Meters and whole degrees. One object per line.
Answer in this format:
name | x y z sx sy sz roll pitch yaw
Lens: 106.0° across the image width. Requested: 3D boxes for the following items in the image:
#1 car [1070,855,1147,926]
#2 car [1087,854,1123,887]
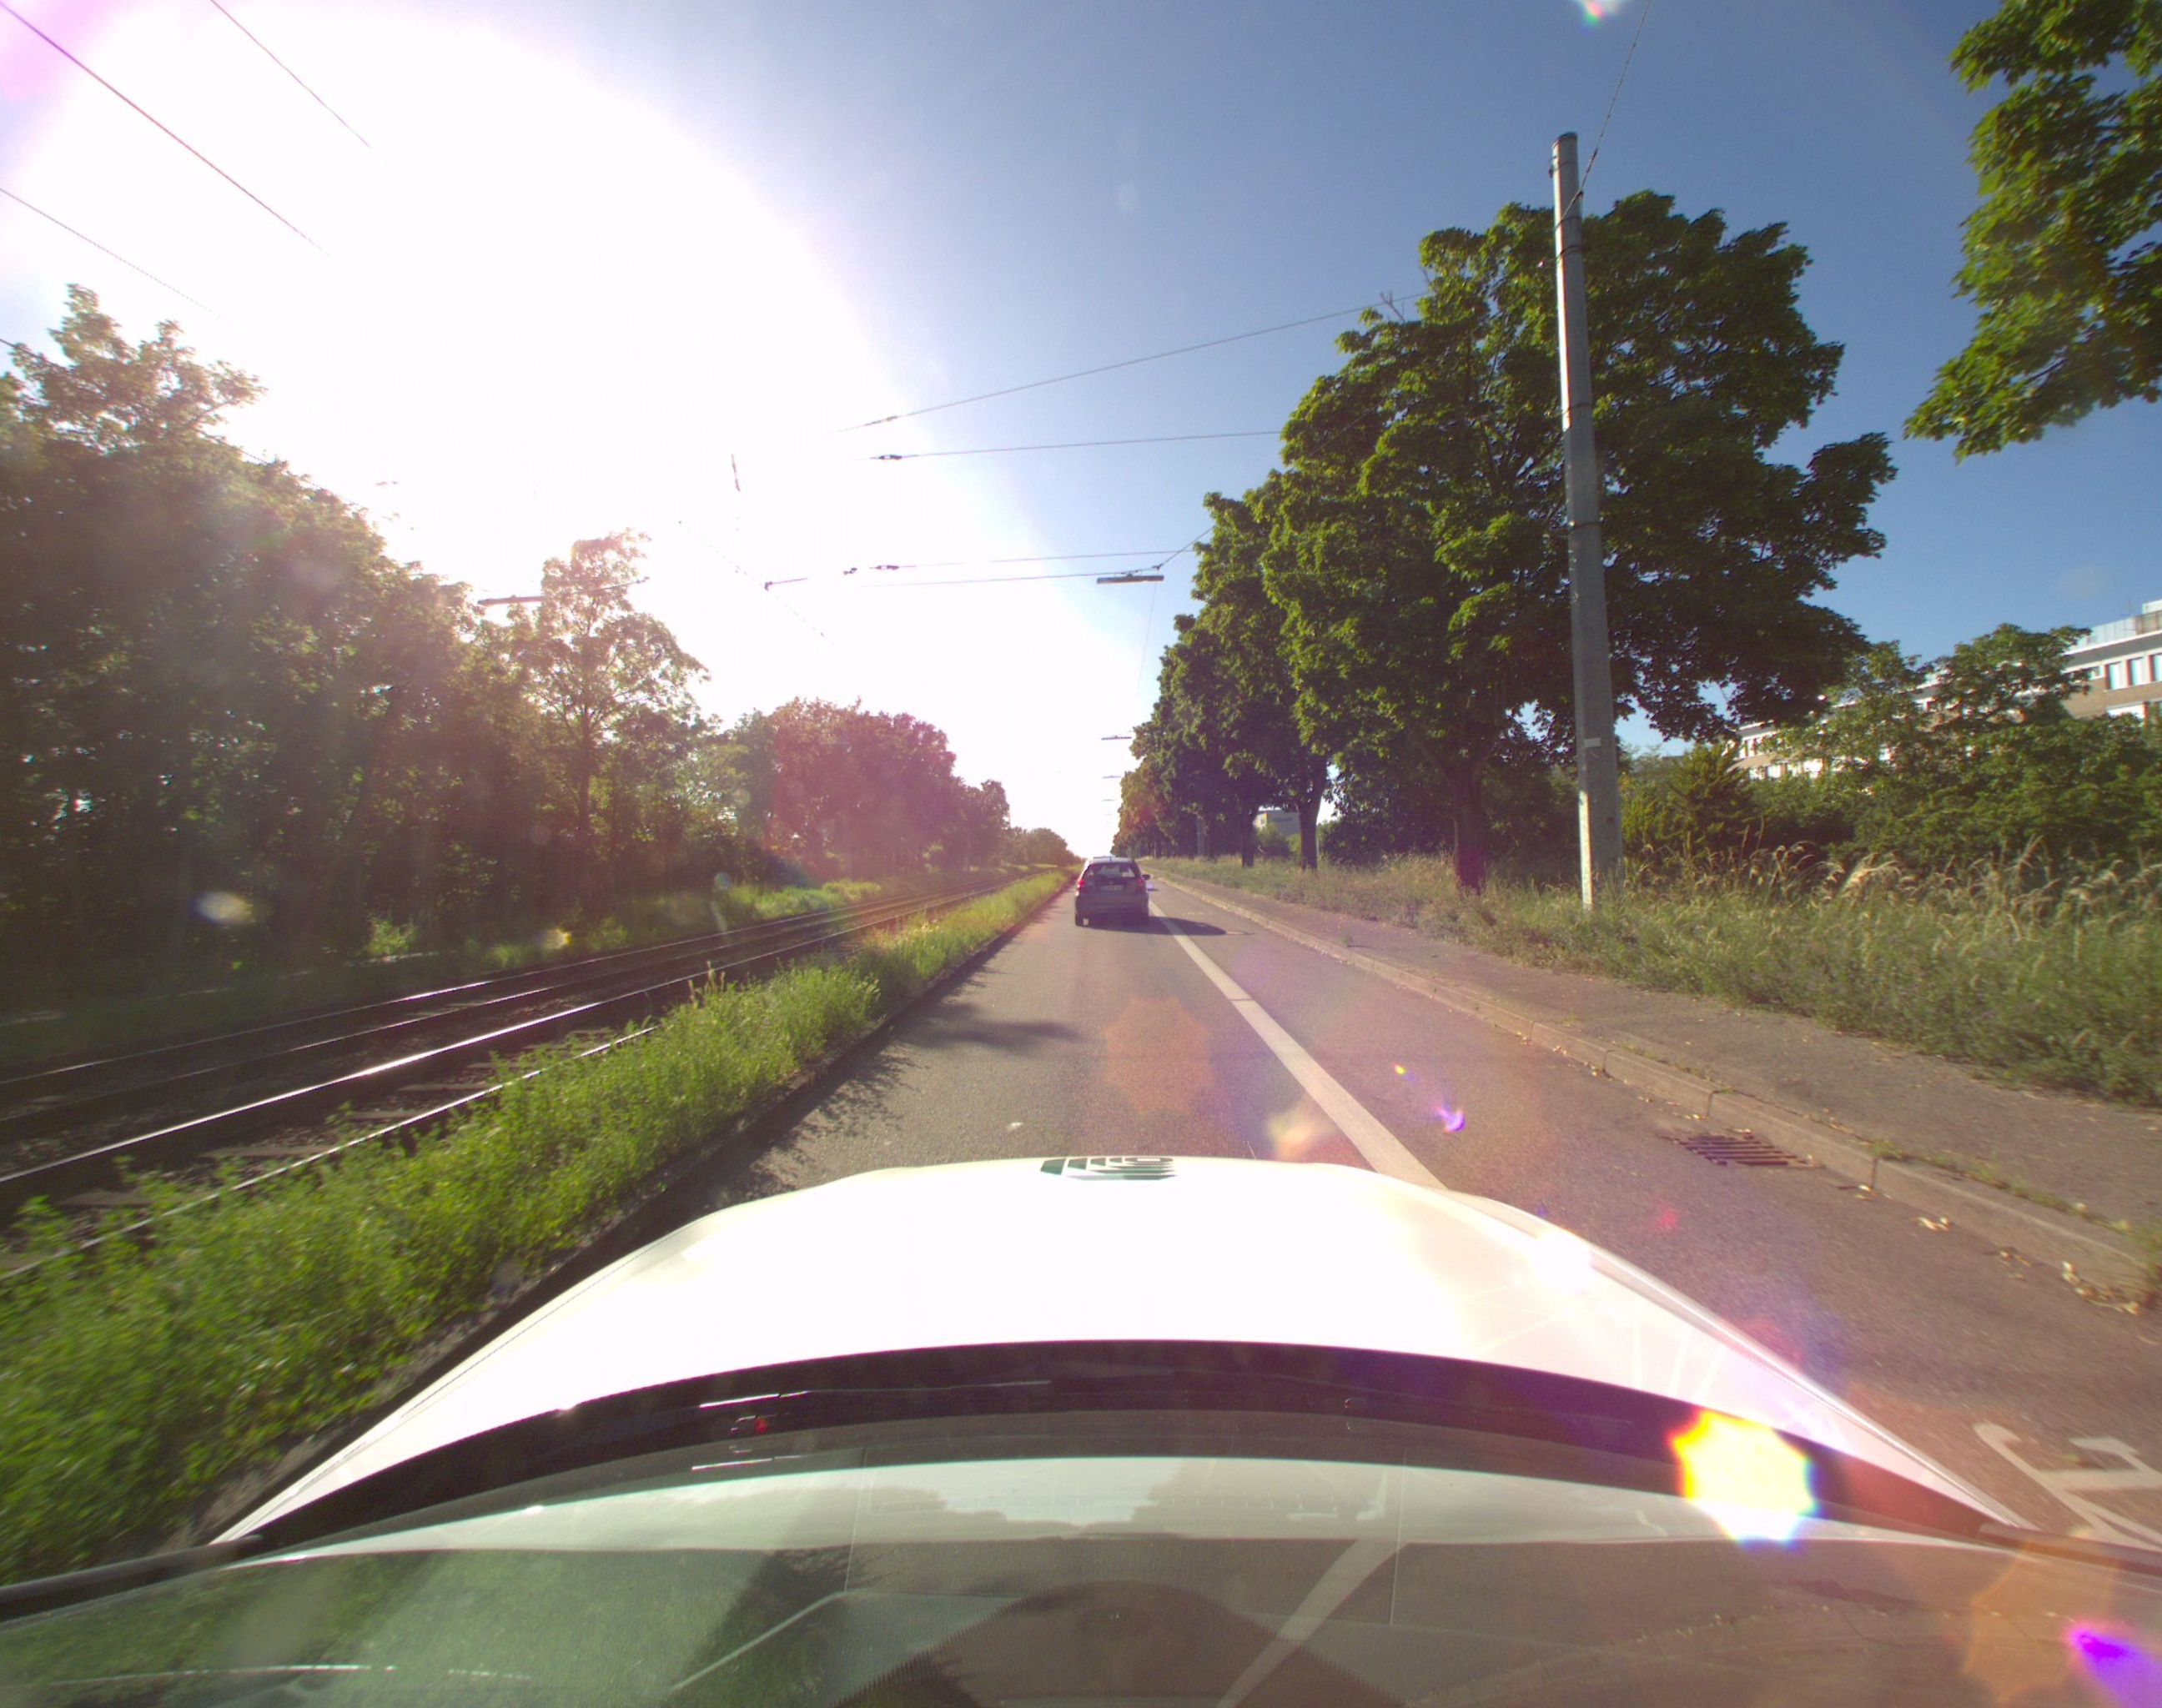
car | 0.673 0.804 19.529 1.663 1.507 3.813 -1 -1 2
car | 1.191 0.760 39.218 1.648 1.507 3.813 -1 -1 2
